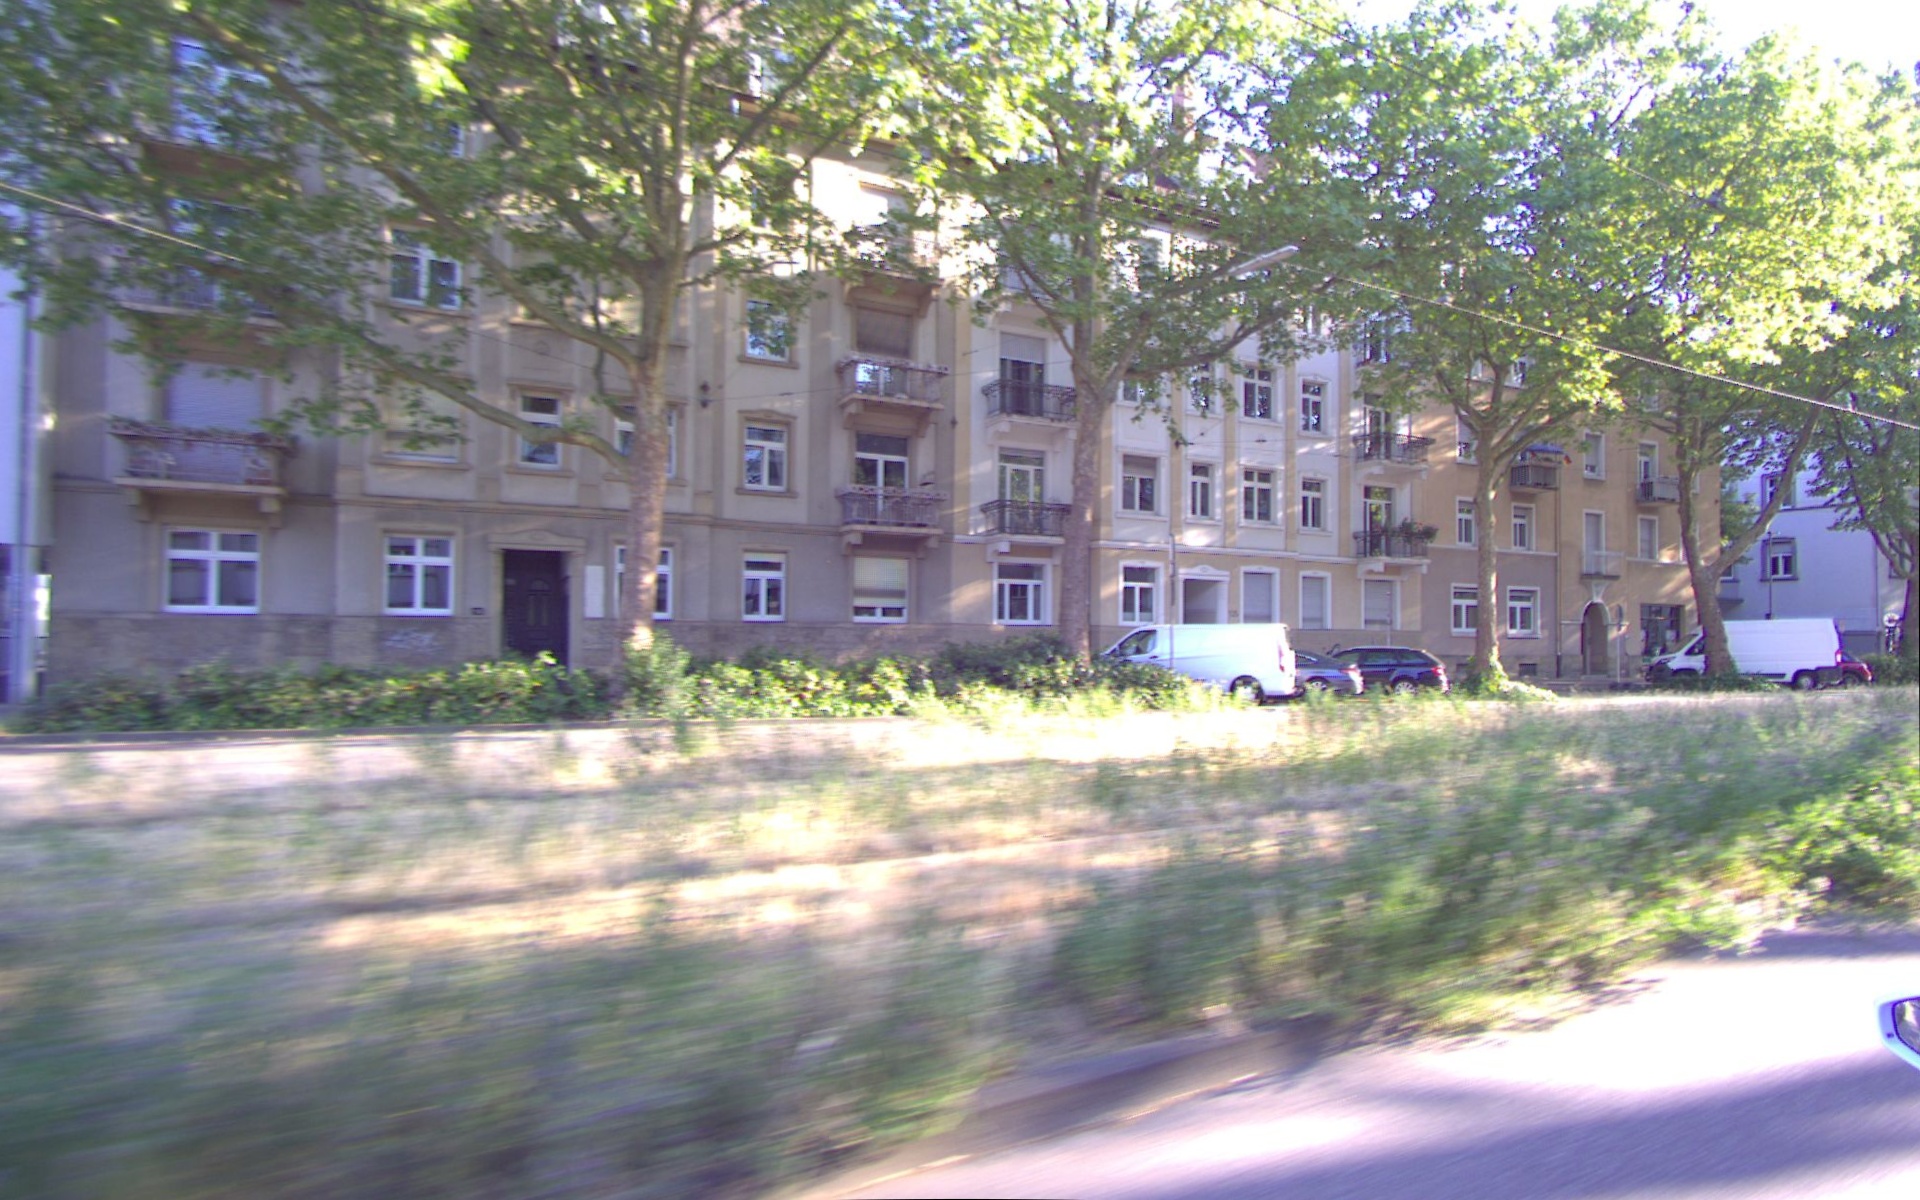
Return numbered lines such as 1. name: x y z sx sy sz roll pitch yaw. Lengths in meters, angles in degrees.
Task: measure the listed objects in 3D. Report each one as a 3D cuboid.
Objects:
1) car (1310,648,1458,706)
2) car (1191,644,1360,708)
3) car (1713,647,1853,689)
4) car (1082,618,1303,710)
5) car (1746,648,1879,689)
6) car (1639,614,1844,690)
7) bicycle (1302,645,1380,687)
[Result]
1. car: 11.592 2.069 27.648 3.656 1.440 1.721 0 -2 22
2. car: 8.259 1.935 26.263 4.095 1.510 1.721 0 -2 22
3. car: 30.443 2.494 37.288 3.638 1.418 1.736 0 -2 22
4. car: 5.732 1.516 24.849 5.145 2.093 1.721 0 -2 22
5. car: 32.816 2.631 38.792 3.646 1.485 1.732 -2 -3 32
6. car: 27.892 1.829 36.102 5.401 2.562 2.126 0 -2 22
7. bicycle: 13.309 2.294 35.049 2.922 1.409 0.739 1 -2 -26
